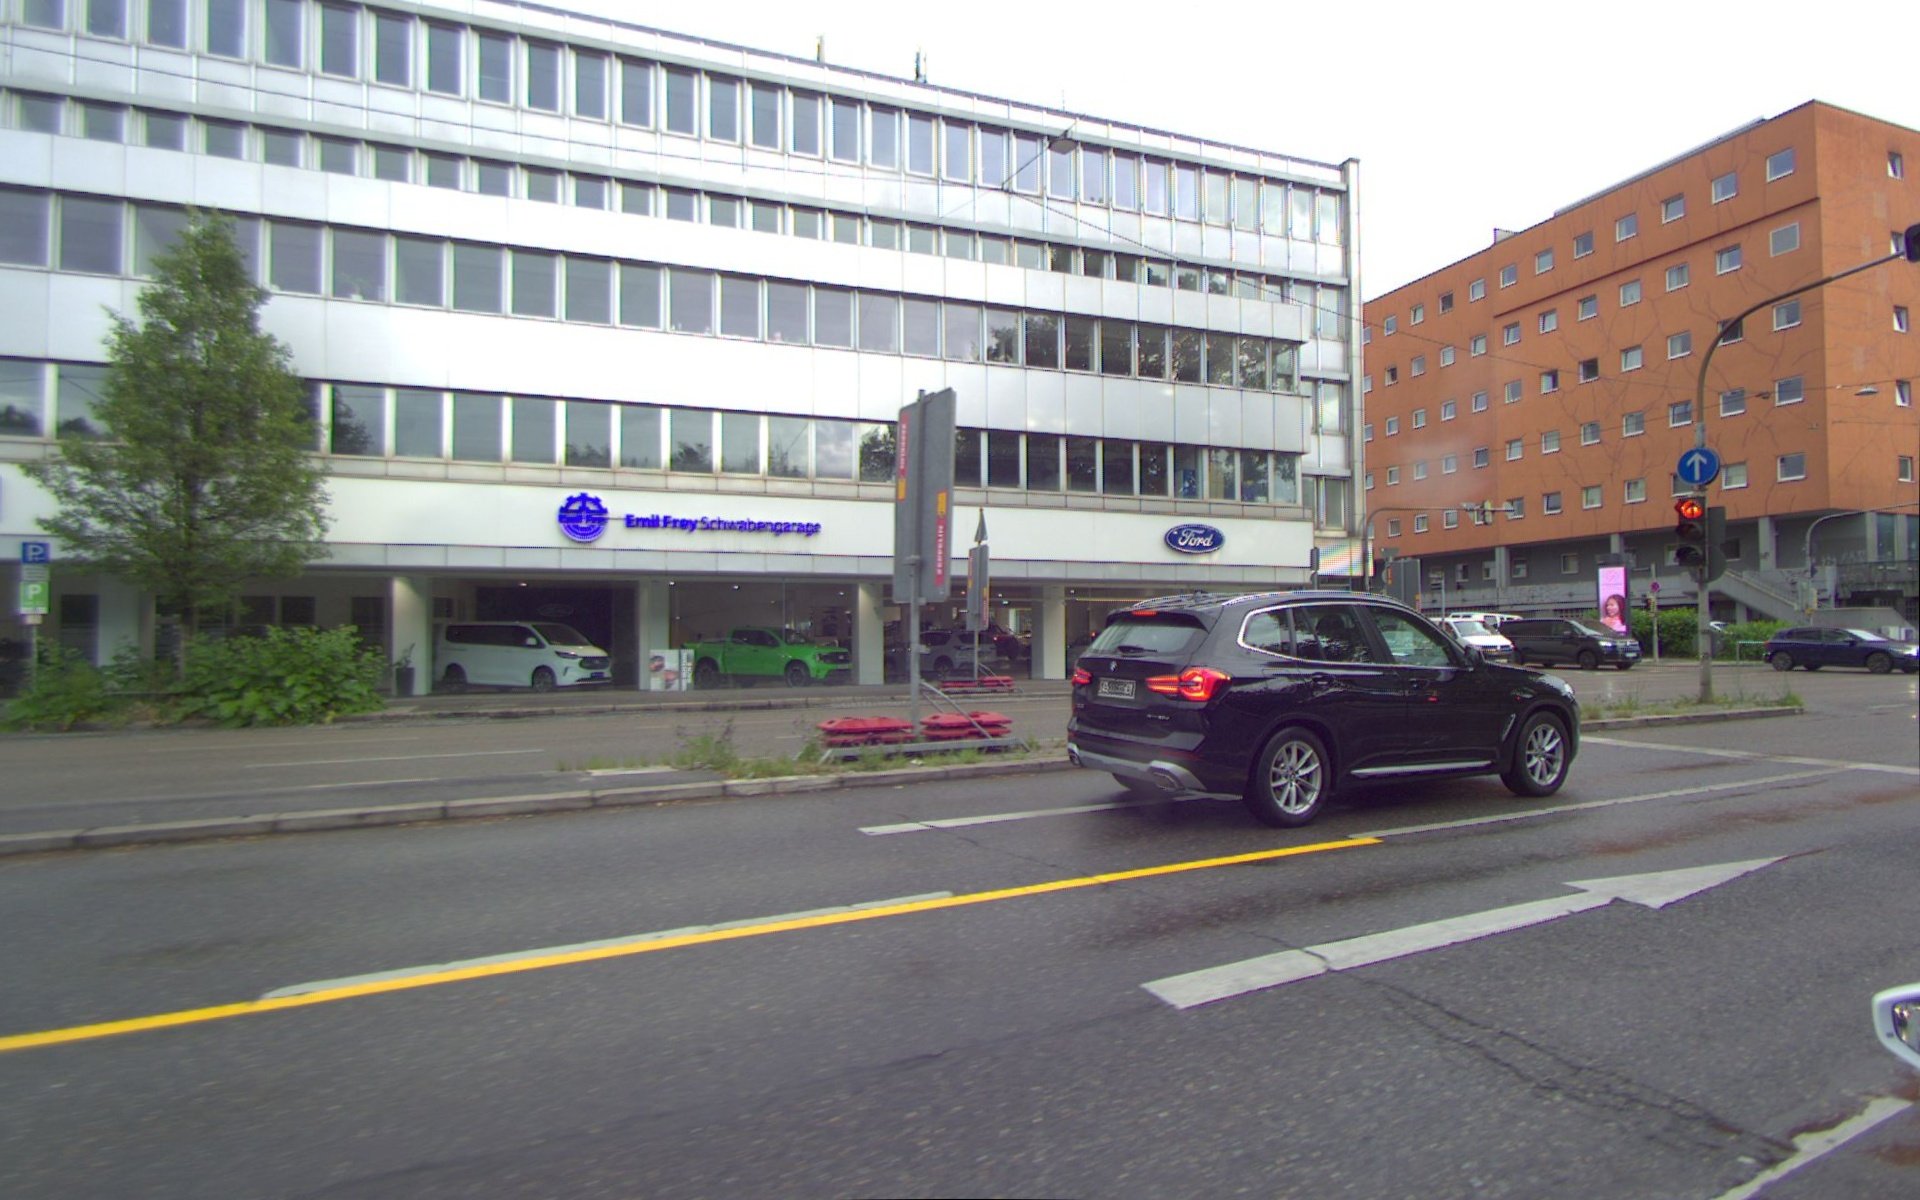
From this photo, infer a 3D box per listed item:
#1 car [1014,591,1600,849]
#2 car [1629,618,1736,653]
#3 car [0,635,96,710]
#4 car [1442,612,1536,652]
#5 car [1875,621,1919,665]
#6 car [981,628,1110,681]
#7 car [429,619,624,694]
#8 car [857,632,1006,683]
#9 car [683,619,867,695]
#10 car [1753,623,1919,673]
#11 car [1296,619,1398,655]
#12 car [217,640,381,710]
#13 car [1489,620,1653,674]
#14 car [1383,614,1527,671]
[{"bbox_3d":[2.912,0.754,8.271,4.609,1.619,1.940,0,0,-27],"label":"car"},{"bbox_3d":[36.603,1.843,51.002,1.865,1.639,4.012,0,-4,-19],"label":"car"},{"bbox_3d":[-21.890,1.607,22.022,3.934,1.594,1.994,0,-3,-16],"label":"car"},{"bbox_3d":[29.049,1.748,55.157,4.784,2.041,1.988,1,2,-24],"label":"car"},{"bbox_3d":[33.124,1.406,32.755,1.756,1.470,4.574,1,-3,-35],"label":"car"},{"bbox_3d":[2.985,1.998,36.058,1.982,1.761,4.724,2,-4,-37],"label":"car"},{"bbox_3d":[-12.022,1.593,27.928,4.890,1.922,2.001,-2,-3,19],"label":"car"},{"bbox_3d":[-1.016,1.908,32.839,1.986,1.540,5.142,2,-5,-42],"label":"car"},{"bbox_3d":[-5.390,1.691,29.138,5.110,2.037,1.998,-3,-4,27],"label":"car"},{"bbox_3d":[27.749,1.551,31.620,1.560,1.464,4.133,0,-4,-19],"label":"car"},{"bbox_3d":[18.515,1.748,48.224,1.857,1.659,4.493,0,-1,-28],"label":"car"},{"bbox_3d":[-16.405,1.858,24.908,3.933,1.594,1.995,-3,-4,33],"label":"car"},{"bbox_3d":[22.509,1.803,37.268,1.969,1.869,5.073,1,-4,-19],"label":"car"},{"bbox_3d":[18.429,1.648,37.738,1.966,1.957,5.201,0,-4,-13],"label":"car"}]
